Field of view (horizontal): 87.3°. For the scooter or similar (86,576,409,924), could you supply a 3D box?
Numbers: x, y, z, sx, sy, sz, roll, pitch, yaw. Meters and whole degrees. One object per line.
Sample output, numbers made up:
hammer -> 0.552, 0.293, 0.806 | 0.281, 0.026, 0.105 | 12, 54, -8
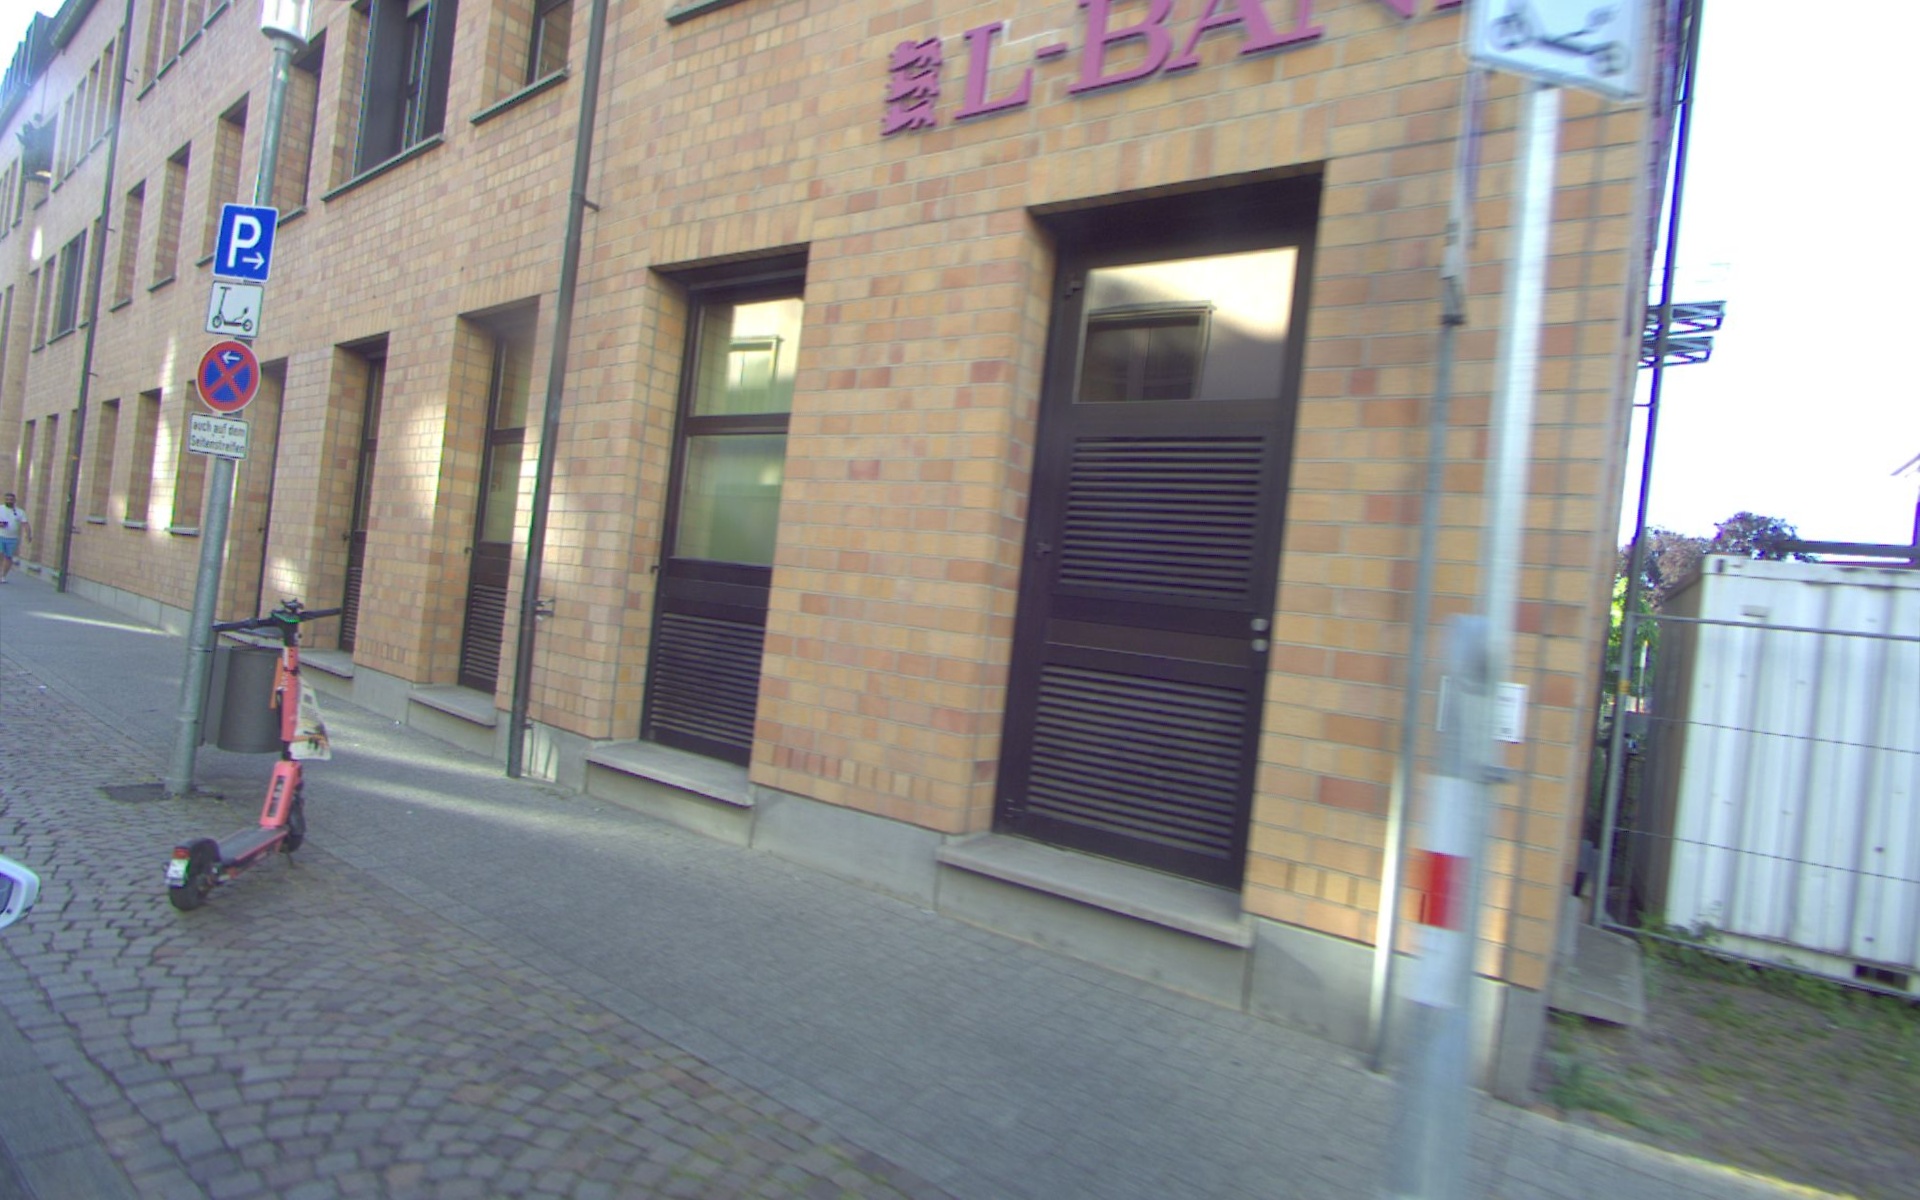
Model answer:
scooter or similar -> -3.025, 0.571, 4.442 | 0.530, 1.250, 1.416 | 7, -1, -13

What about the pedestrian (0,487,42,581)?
pedestrian -> -18.276, -1.280, 19.339 | 0.810, 1.739, 0.759 | 6, 2, 40
